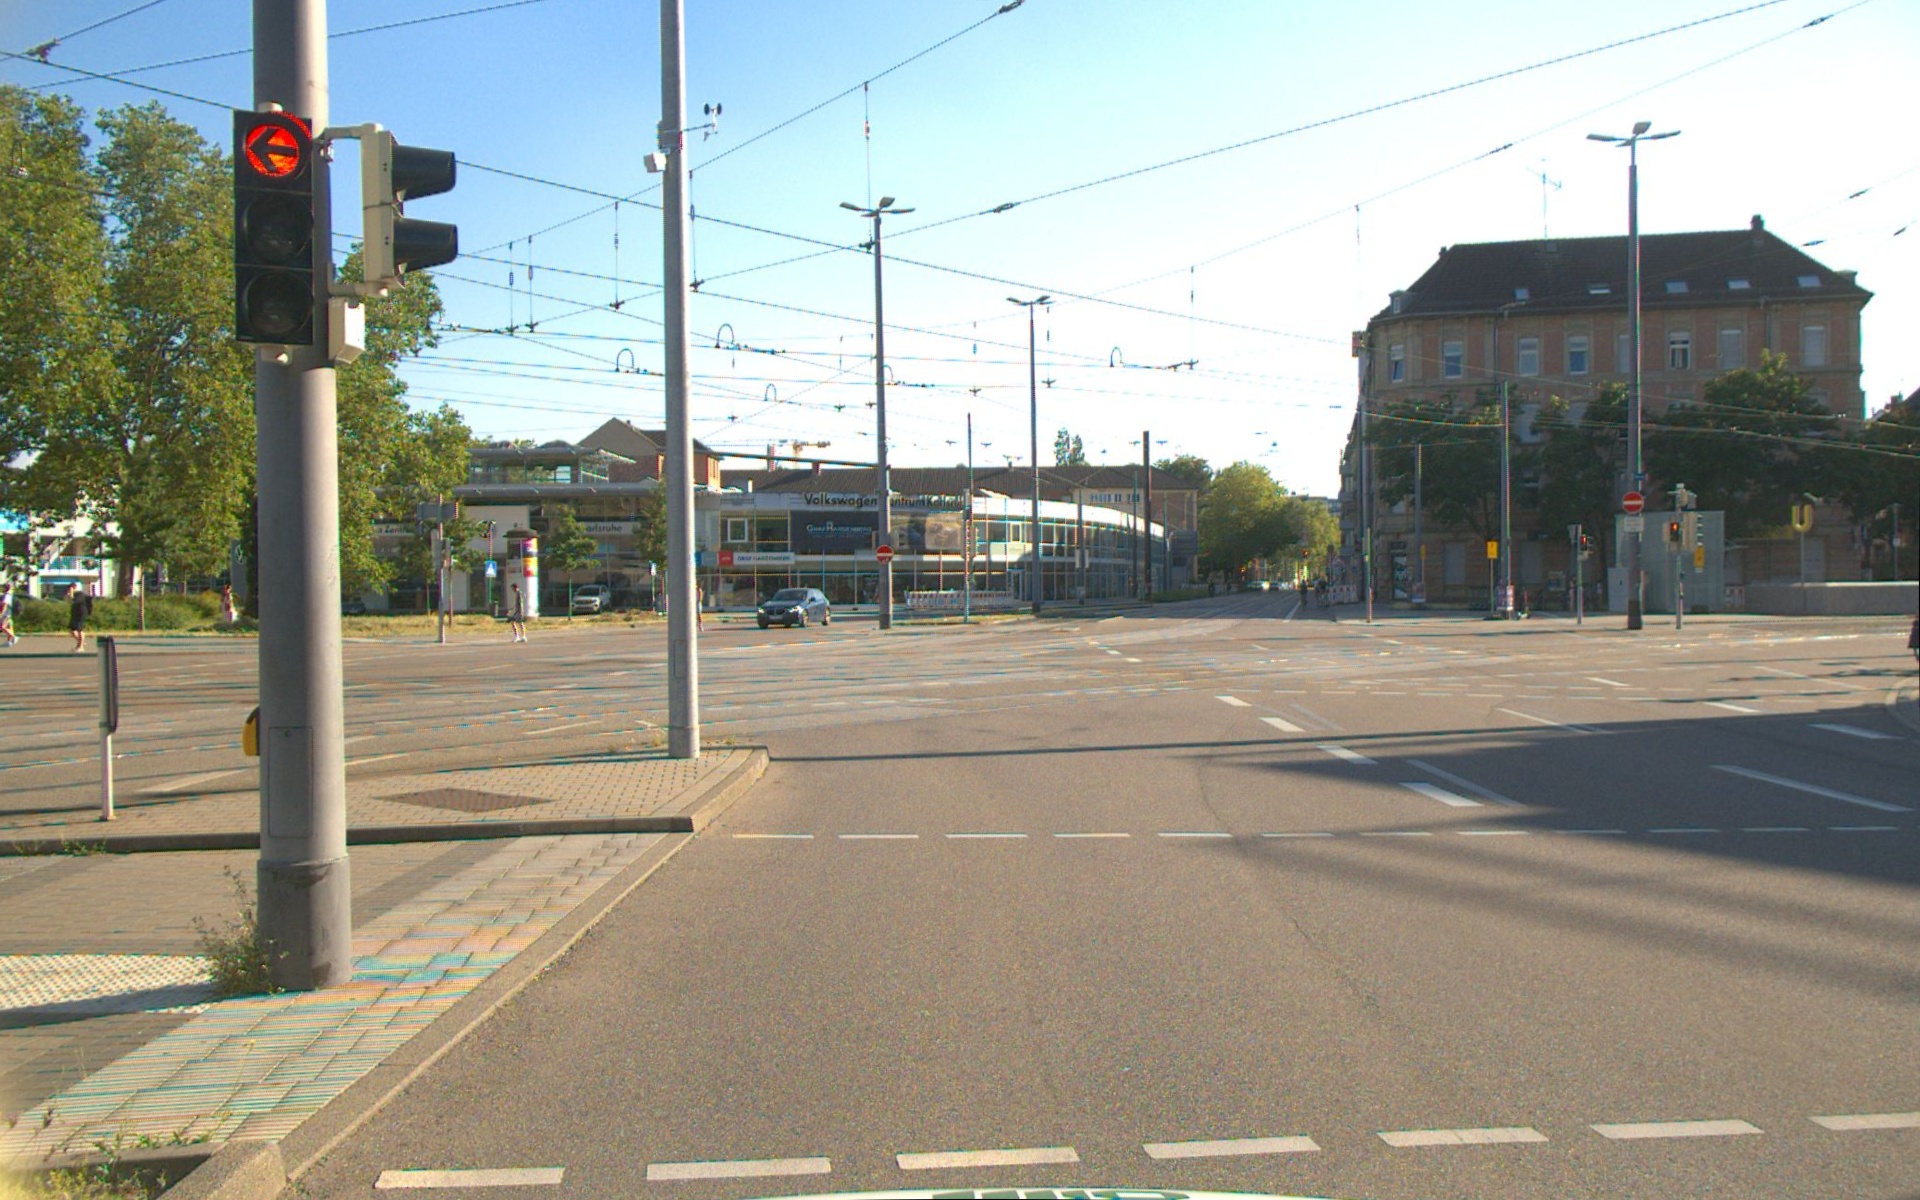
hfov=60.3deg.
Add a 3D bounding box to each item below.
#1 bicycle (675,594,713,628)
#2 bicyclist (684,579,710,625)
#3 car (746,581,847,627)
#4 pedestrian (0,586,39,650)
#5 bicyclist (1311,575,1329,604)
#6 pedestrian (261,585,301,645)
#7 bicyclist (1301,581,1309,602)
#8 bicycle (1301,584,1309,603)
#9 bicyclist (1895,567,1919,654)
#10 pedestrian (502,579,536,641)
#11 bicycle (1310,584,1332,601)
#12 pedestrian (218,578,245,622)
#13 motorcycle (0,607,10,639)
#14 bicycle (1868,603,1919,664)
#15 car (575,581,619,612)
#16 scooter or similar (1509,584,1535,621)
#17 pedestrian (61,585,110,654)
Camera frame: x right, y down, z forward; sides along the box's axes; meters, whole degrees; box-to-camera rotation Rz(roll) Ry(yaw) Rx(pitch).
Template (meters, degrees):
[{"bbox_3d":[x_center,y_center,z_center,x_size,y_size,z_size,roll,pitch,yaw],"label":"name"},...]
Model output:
[{"bbox_3d":[-9.560,0.390,59.482,0.599,1.210,1.870,1,0,17],"label":"bicycle"},{"bbox_3d":[-9.499,0.068,59.672,0.585,1.644,0.823,1,-1,17],"label":"bicyclist"},{"bbox_3d":[-6.051,0.165,61.595,1.954,1.613,3.996,1,0,26],"label":"car"},{"bbox_3d":[-26.042,0.500,45.631,0.777,1.736,0.759,1,-1,6],"label":"pedestrian"},{"bbox_3d":[20.758,-0.600,95.410,0.759,1.604,0.758,1,-1,-16],"label":"bicyclist"},{"bbox_3d":[-19.891,0.442,48.460,0.777,1.736,0.759,1,-1,6],"label":"pedestrian"},{"bbox_3d":[18.173,-0.449,87.183,0.399,1.136,0.399,1,-1,11],"label":"bicyclist"},{"bbox_3d":[18.187,-0.347,87.274,0.401,0.958,1.847,1,0,12],"label":"bicycle"},{"bbox_3d":[17.576,0.192,30.069,0.505,1.584,0.945,1,0,-9],"label":"bicyclist"},{"bbox_3d":[-13.989,0.314,52.455,0.777,1.919,0.759,1,-1,6],"label":"pedestrian"},{"bbox_3d":[20.813,-0.417,95.377,0.646,0.969,1.595,1,0,-12],"label":"bicycle"},{"bbox_3d":[-28.892,-0.002,65.581,0.839,1.723,0.496,1,-1,-3],"label":"pedestrian"},{"bbox_3d":[-28.926,0.670,48.505,1.748,0.930,0.675,1,0,-21],"label":"motorcycle"},{"bbox_3d":[17.568,0.629,30.074,0.524,1.067,2.316,1,1,-9],"label":"bicycle"},{"bbox_3d":[-21.712,-0.186,99.022,1.954,1.780,3.997,1,0,-4],"label":"car"},{"bbox_3d":[21.627,0.099,63.640,0.769,1.400,1.910,1,0,13],"label":"scooter or similar"},{"bbox_3d":[-22.382,0.493,42.323,0.777,1.736,0.759,1,-1,6],"label":"pedestrian"}]
